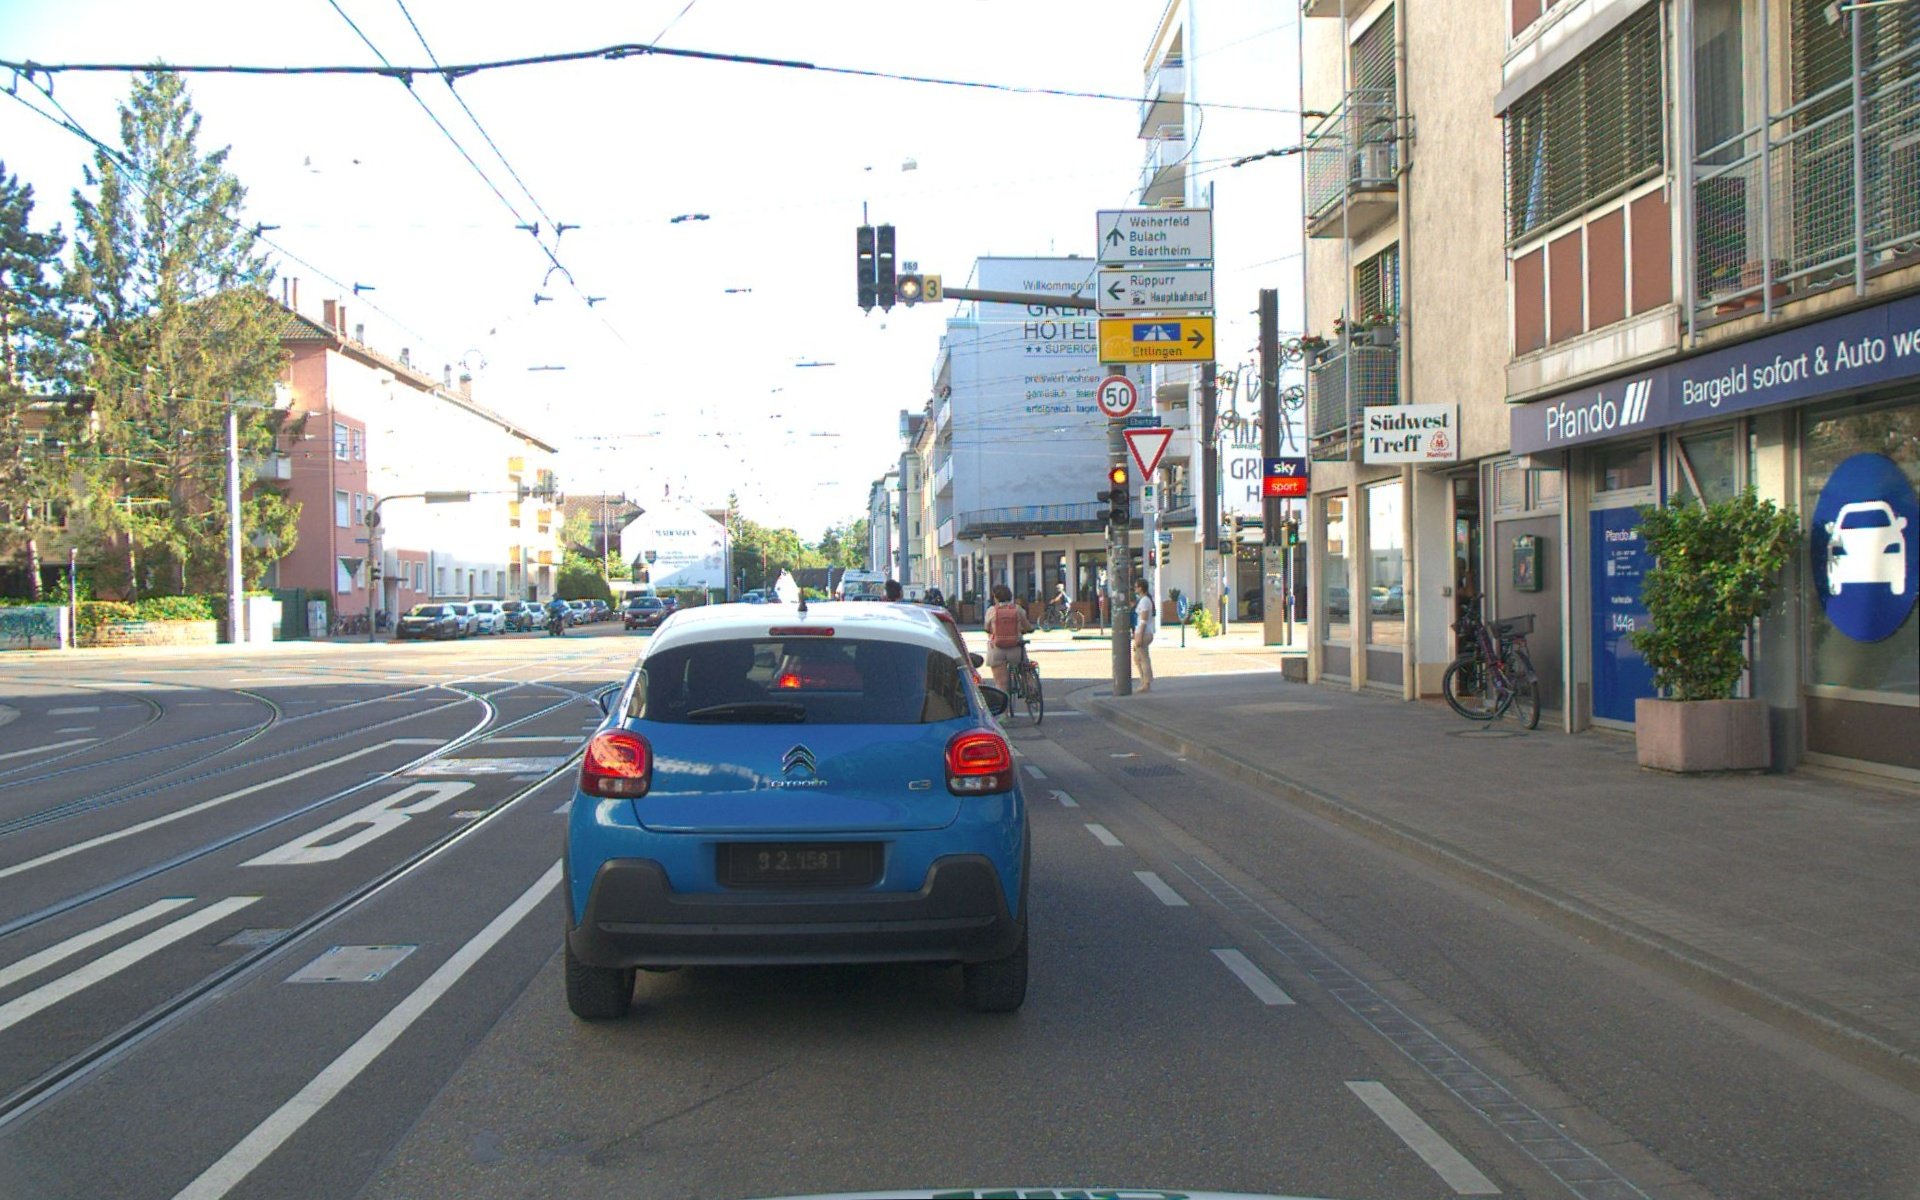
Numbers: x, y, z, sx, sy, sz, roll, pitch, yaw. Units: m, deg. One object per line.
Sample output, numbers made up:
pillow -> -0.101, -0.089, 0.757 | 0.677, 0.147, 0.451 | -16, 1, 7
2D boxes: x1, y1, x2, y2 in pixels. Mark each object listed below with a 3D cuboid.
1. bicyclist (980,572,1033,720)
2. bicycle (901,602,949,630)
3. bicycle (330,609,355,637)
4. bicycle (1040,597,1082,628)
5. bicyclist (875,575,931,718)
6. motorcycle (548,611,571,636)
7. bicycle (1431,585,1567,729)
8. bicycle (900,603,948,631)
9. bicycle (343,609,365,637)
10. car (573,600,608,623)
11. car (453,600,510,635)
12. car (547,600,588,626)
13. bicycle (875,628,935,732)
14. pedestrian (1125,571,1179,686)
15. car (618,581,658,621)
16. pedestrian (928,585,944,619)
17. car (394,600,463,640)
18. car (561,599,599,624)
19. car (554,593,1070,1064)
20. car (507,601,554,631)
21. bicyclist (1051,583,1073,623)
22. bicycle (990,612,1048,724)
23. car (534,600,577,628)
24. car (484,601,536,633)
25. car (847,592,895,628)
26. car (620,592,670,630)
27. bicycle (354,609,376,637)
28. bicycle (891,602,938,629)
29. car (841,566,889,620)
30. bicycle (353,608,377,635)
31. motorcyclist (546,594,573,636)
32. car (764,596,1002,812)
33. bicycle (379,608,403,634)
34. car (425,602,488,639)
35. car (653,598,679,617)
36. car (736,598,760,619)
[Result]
bicyclist -> 0.569, 0.551, 20.587 | 0.588, 1.776, 1.084 | -1, 0, -1
bicycle -> -1.395, 0.643, 65.771 | 1.868, 1.083, 0.641 | -1, 0, -8
bicycle -> -24.984, 0.921, 66.981 | 0.628, 1.101, 1.905 | -1, 0, -11
bicycle -> 3.726, 0.471, 60.840 | 1.457, 1.110, 0.606 | -1, 0, 10
bicyclist -> -0.687, 0.537, 19.607 | 0.604, 1.658, 0.759 | -1, 0, -5
motorcycle -> -16.227, 0.943, 67.011 | 0.738, 0.993, 2.092 | -1, 0, -9
bicycle -> 5.114, 0.504, 15.811 | 0.627, 1.287, 1.910 | -1, 0, -1
bicycle -> -1.448, 0.668, 67.076 | 1.868, 1.083, 0.641 | -1, 0, -8
bicycle -> -24.590, 0.931, 67.107 | 0.527, 1.101, 1.905 | -1, 0, -11
car -> -25.571, 0.796, 114.583 | 1.913, 1.545, 3.995 | -1, 0, -6
car -> -22.758, 0.824, 78.852 | 1.913, 1.545, 3.995 | -1, 0, -6
car -> -24.413, 0.814, 102.980 | 1.913, 1.545, 3.995 | -1, 0, -6
bicycle -> -0.671, 0.919, 19.712 | 0.604, 1.123, 1.884 | -1, 0, -5
pedestrian -> 2.820, 0.413, 24.334 | 0.735, 1.663, 0.740 | -1, 0, 5
car -> -23.229, 0.075, 119.567 | 2.446, 2.759, 5.828 | -1, 0, -7
pedestrian -> -1.012, 0.093, 70.230 | 0.514, 1.445, 0.547 | -1, 0, 19
car -> -22.017, 0.794, 68.641 | 1.913, 1.545, 3.995 | -1, 0, -6
car -> -24.855, 0.756, 108.253 | 1.913, 1.545, 3.995 | -1, 0, -6
car -> -0.611, 0.729, 7.342 | 1.647, 1.488, 3.997 | 1, 0, -4
car -> -23.767, 0.861, 91.558 | 1.913, 1.545, 3.995 | -1, 0, -6
bicyclist -> 3.764, 0.117, 60.833 | 0.711, 1.459, 0.606 | -1, 0, 9
bicycle -> 0.722, 0.814, 20.628 | 0.601, 1.287, 1.910 | -1, 0, -1
car -> -23.938, 0.828, 97.983 | 1.913, 1.545, 3.995 | -1, 0, -6
car -> -23.237, 0.844, 85.509 | 1.913, 1.545, 3.995 | -1, 0, -6
car -> -3.678, 0.387, 67.731 | 1.752, 1.383, 3.909 | -1, 0, -6
car -> -14.585, 0.494, 76.771 | 1.967, 1.656, 5.045 | -1, 0, -7
bicycle -> -24.232, 0.939, 67.406 | 0.527, 1.101, 1.905 | -1, 0, -11
bicycle -> -1.862, 0.645, 68.262 | 1.868, 1.083, 0.641 | -1, 0, -8
car -> -4.233, -0.314, 73.169 | 2.039, 2.309, 5.646 | 0, 0, -4
bicycle -> -25.876, 0.931, 71.977 | 0.527, 1.101, 1.908 | -1, 0, -7
motorcyclist -> -16.207, 0.610, 66.943 | 0.973, 1.659, 0.737 | -1, 0, -10
car -> -0.678, 0.726, 13.551 | 1.647, 1.488, 3.997 | 1, 0, -4
bicycle -> -25.675, 0.944, 74.682 | 0.597, 1.101, 1.908 | -1, 0, -7
car -> -22.556, 0.880, 74.246 | 1.913, 1.545, 4.040 | -1, 0, -6
car -> -25.581, 0.653, 144.156 | 1.913, 1.545, 3.995 | -1, 0, -6
car -> -21.819, 0.820, 170.483 | 2.293, 2.074, 5.044 | -1, 0, -6
